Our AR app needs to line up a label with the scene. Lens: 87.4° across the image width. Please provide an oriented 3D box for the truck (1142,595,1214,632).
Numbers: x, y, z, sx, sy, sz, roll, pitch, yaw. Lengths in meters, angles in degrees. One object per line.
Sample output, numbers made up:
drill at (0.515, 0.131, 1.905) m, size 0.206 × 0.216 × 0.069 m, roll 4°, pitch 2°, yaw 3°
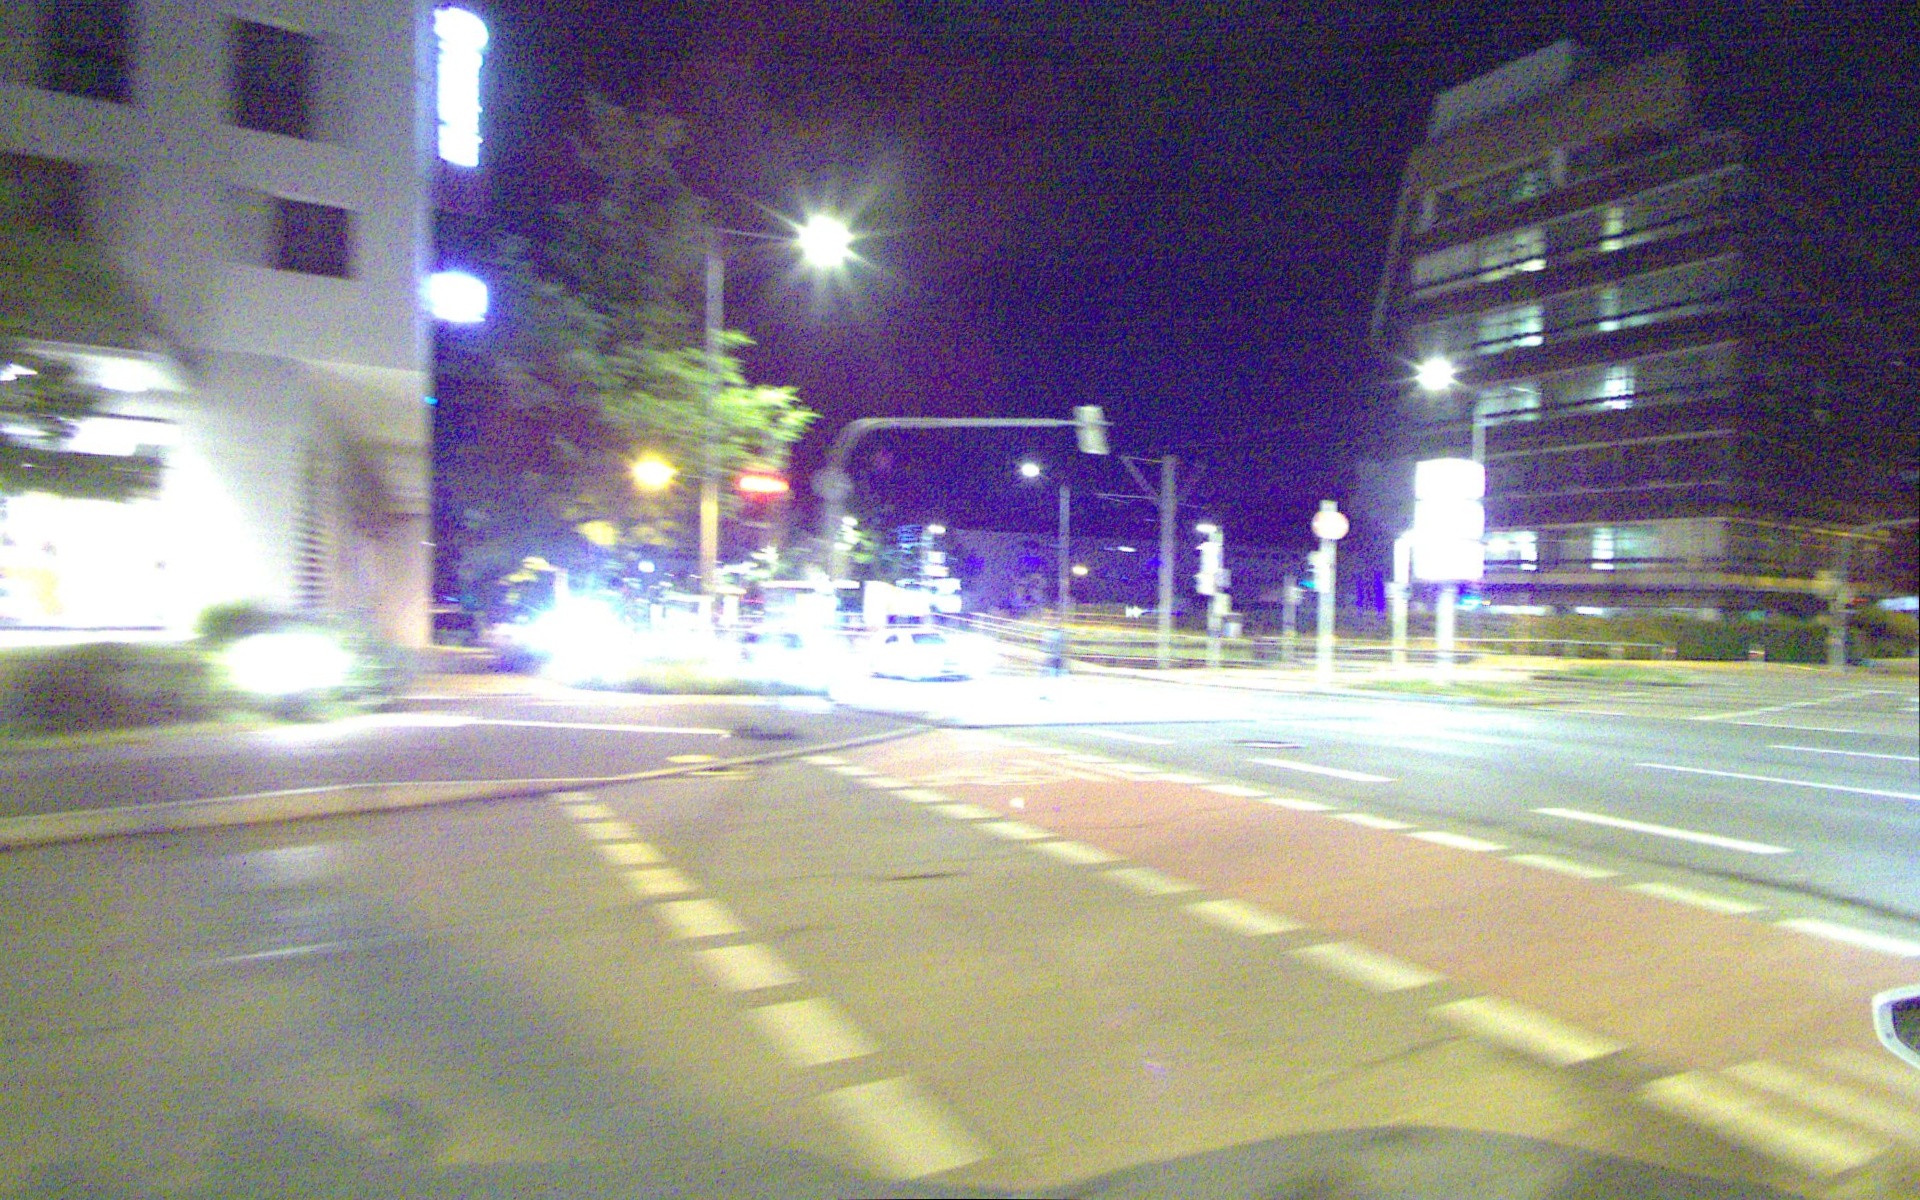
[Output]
truck at (18.981, 1.157, 87.664) m, size 2.881 × 3.129 × 5.865 m, roll 1°, pitch -1°, yaw -32°

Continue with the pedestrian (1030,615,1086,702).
pedestrian at (1.925, 1.131, 19.692) m, size 0.855 × 1.656 × 0.664 m, roll 1°, pitch 0°, yaw -38°

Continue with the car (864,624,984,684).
car at (-1.127, 1.491, 28.936) m, size 1.796 × 1.522 × 4.170 m, roll -1°, pitch -1°, yaw -28°

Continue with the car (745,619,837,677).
car at (-5.126, 1.390, 30.066) m, size 1.880 × 1.591 × 3.979 m, roll 2°, pitch -2°, yaw -22°
